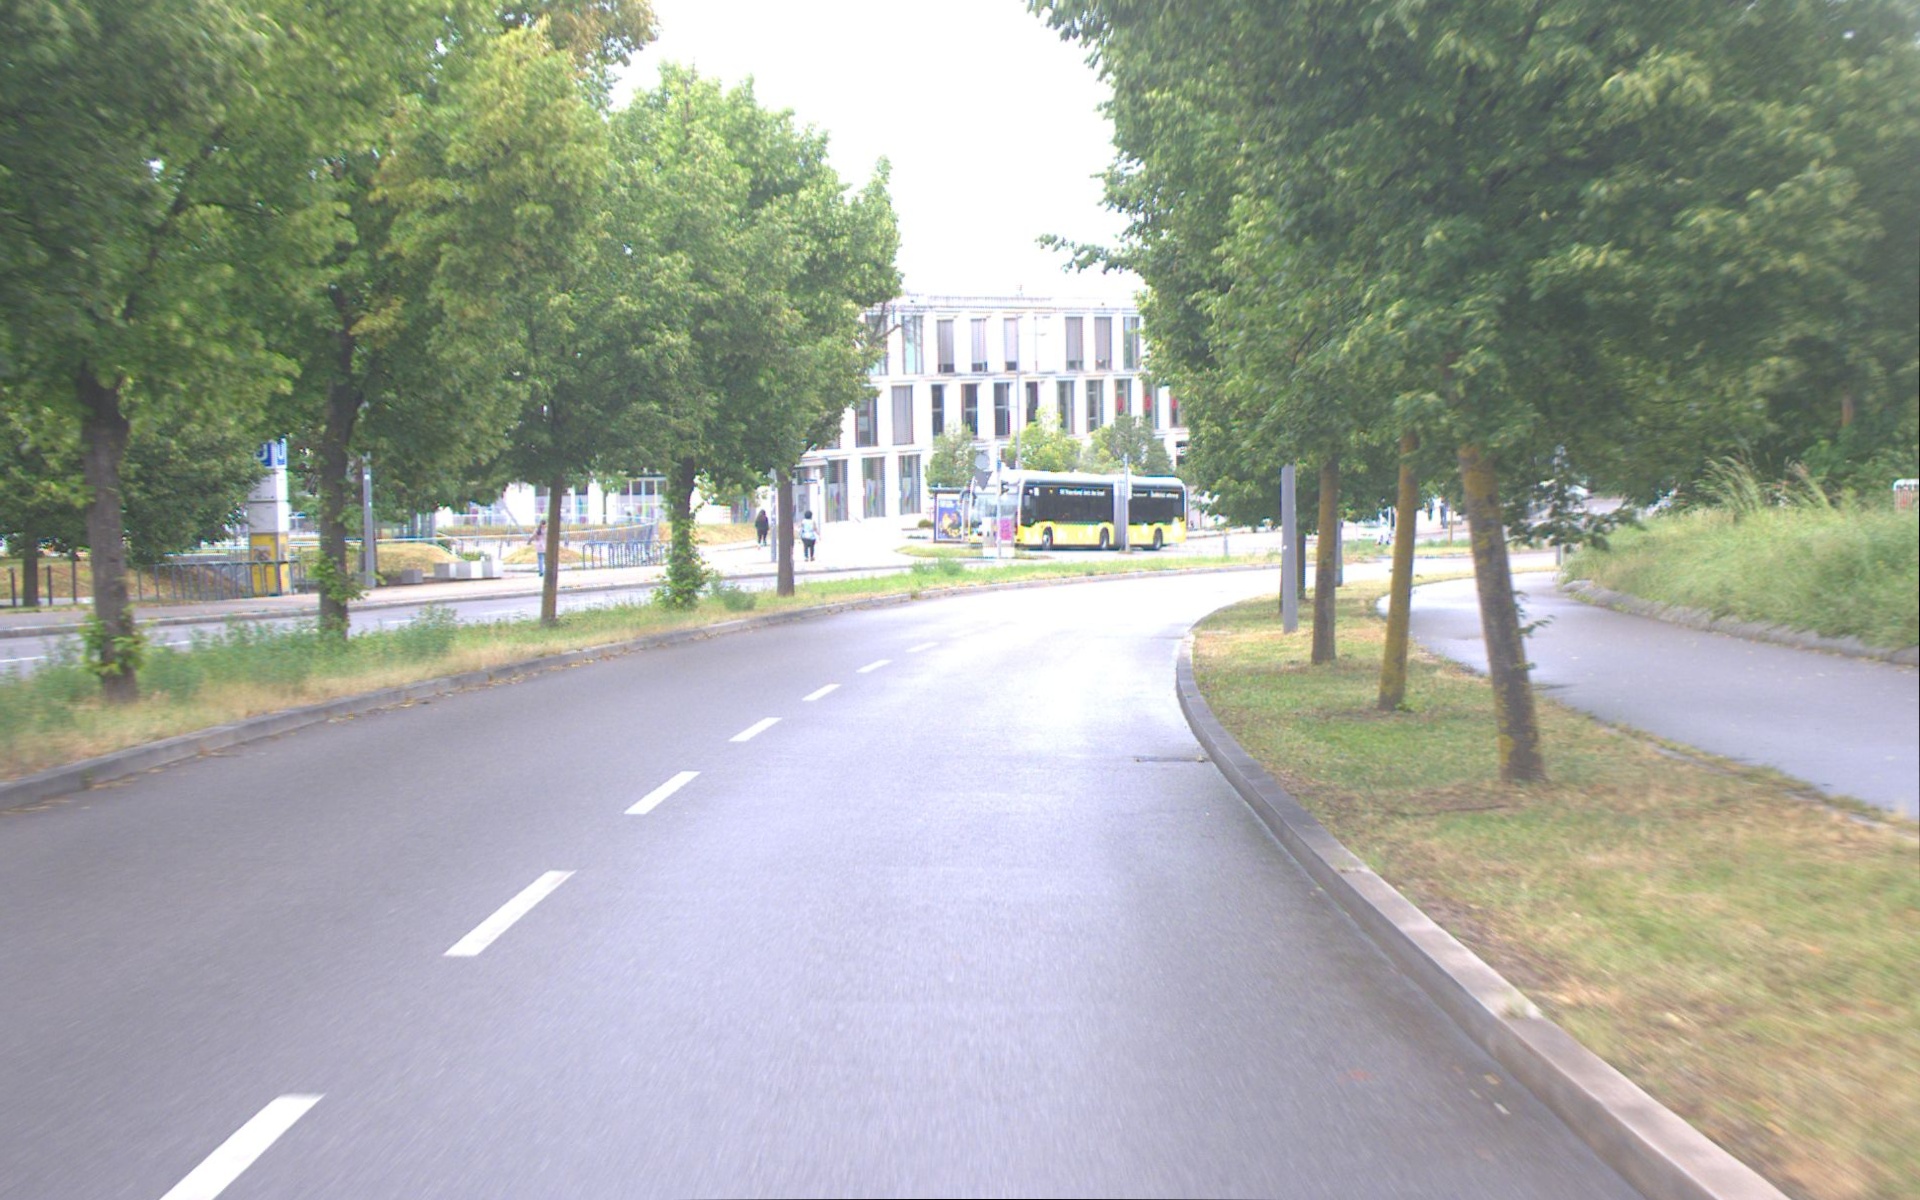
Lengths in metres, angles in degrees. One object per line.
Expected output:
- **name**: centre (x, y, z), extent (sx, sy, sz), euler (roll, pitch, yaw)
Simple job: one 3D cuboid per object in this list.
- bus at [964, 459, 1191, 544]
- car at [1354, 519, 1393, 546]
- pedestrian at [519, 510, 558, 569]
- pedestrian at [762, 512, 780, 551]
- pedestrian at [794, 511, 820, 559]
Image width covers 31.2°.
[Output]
- **bus**: centre (5.480, -4.264, 152.934), extent (2.789, 3.345, 18.200), euler (0, 0, 27)
- **car**: centre (23.076, -3.770, 191.771), extent (1.480, 1.489, 2.527), euler (0, 0, 25)
- **pedestrian**: centre (-11.776, -1.684, 96.095), extent (0.814, 1.615, 0.935), euler (0, 0, 12)
- **pedestrian**: centre (-7.468, -2.692, 135.826), extent (0.682, 1.519, 0.719), euler (0, 0, 1)
- **pedestrian**: centre (-5.037, -2.140, 113.072), extent (0.834, 1.568, 0.719), euler (0, 0, -5)
